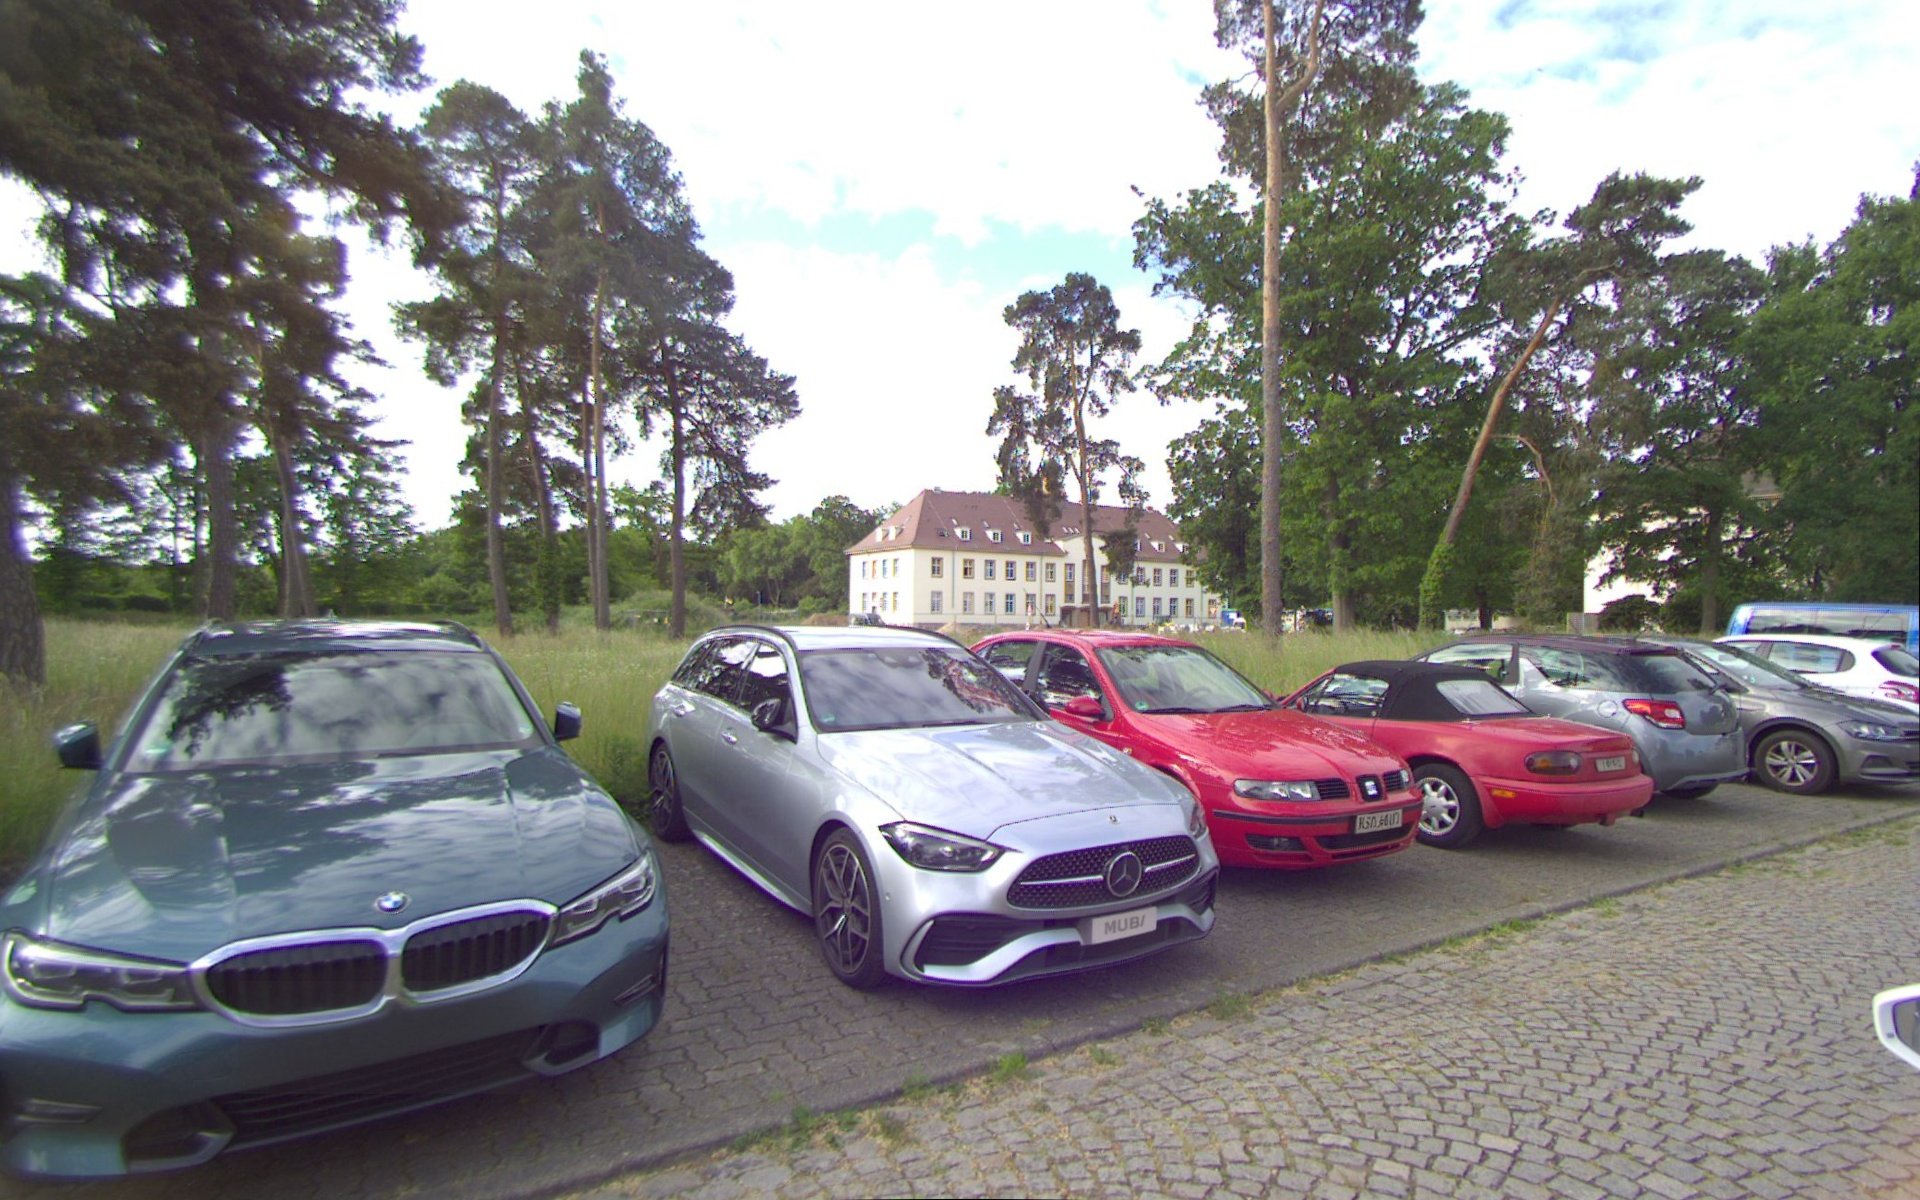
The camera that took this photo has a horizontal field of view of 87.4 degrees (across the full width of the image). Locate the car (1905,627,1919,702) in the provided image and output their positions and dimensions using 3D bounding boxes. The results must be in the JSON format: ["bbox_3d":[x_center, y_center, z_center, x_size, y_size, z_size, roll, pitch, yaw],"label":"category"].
[{"bbox_3d":[22.258,1.399,20.478,1.933,1.596,4.044,1,-1,-33],"label":"car"}]

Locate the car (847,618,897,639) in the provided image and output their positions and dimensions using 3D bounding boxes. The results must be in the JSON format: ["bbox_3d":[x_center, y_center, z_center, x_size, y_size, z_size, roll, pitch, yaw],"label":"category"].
[{"bbox_3d":[-9.414,3.017,106.842,2.352,2.143,5.756,3,-3,-40],"label":"car"}]

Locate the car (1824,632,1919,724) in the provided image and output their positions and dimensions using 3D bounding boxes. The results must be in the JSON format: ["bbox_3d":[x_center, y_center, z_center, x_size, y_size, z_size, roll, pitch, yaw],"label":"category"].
[{"bbox_3d":[17.181,1.342,16.861,1.708,1.513,3.770,1,-1,-34],"label":"car"}]

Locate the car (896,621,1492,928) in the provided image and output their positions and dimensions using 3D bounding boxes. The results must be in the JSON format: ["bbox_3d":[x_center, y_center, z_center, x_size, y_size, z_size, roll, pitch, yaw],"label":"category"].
[{"bbox_3d":[1.326,0.932,7.364,1.834,1.474,4.231,1,-1,-31],"label":"car"}]

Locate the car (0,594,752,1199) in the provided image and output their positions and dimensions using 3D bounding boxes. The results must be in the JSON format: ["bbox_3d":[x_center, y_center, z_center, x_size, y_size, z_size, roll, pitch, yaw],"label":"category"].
[{"bbox_3d":[-2.688,0.791,4.463,1.852,1.557,4.472,2,-1,-35],"label":"car"}]

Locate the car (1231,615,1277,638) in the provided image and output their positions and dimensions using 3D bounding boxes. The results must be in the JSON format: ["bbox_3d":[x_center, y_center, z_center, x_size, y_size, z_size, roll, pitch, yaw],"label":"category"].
[{"bbox_3d":[29.192,2.682,99.805,4.299,2.122,2.050,3,-3,-33],"label":"car"}]

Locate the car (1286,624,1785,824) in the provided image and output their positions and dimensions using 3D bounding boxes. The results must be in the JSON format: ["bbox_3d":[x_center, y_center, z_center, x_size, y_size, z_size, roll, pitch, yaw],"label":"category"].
[{"bbox_3d":[5.491,1.037,10.150,1.735,1.500,4.068,1,0,-30],"label":"car"}]

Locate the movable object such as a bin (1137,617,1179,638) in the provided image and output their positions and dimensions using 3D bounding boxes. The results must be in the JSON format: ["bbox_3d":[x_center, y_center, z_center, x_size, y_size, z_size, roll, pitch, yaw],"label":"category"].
[{"bbox_3d":[22.359,3.072,113.696,2.349,2.283,4.491,3,-2,-27],"label":"movable object such as a bin"}]

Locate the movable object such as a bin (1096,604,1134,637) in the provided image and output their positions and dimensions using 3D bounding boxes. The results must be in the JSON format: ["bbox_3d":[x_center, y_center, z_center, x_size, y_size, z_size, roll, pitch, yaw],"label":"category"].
[{"bbox_3d":[18.120,2.382,117.898,2.106,3.689,6.118,2,-2,-14],"label":"movable object such as a bin"}]

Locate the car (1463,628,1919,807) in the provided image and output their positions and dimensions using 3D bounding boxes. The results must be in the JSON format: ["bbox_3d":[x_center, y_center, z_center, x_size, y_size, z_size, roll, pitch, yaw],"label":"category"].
[{"bbox_3d":[8.153,1.108,11.256,1.710,1.500,4.284,1,-1,-30],"label":"car"}]

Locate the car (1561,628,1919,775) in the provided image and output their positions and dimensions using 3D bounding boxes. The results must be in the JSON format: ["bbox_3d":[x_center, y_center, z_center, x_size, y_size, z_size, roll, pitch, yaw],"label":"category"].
[{"bbox_3d":[10.360,1.172,13.080,1.821,1.522,3.986,1,0,-30],"label":"car"}]

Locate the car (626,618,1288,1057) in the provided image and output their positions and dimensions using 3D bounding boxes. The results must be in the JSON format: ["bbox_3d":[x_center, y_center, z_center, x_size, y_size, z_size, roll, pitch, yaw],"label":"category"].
[{"bbox_3d":[-0.473,0.896,5.928,1.927,1.474,4.414,2,-1,-31],"label":"car"}]

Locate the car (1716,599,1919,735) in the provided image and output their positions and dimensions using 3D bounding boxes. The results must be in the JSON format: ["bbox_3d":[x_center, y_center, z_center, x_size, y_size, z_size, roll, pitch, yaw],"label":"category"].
[{"bbox_3d":[14.944,1.007,15.631,2.016,2.007,4.683,1,0,-32],"label":"car"}]

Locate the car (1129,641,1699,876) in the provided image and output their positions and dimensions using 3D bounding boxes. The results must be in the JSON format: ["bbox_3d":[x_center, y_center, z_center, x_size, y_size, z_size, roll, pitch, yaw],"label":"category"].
[{"bbox_3d":[3.439,1.068,8.419,1.744,1.300,4.109,1,-1,-31],"label":"car"}]

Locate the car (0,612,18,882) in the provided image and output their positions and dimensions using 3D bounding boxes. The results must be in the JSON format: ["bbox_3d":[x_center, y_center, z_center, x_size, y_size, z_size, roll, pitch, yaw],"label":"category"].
[{"bbox_3d":[-5.054,0.782,3.353,1.806,1.490,4.308,2,-1,-30],"label":"car"}]
